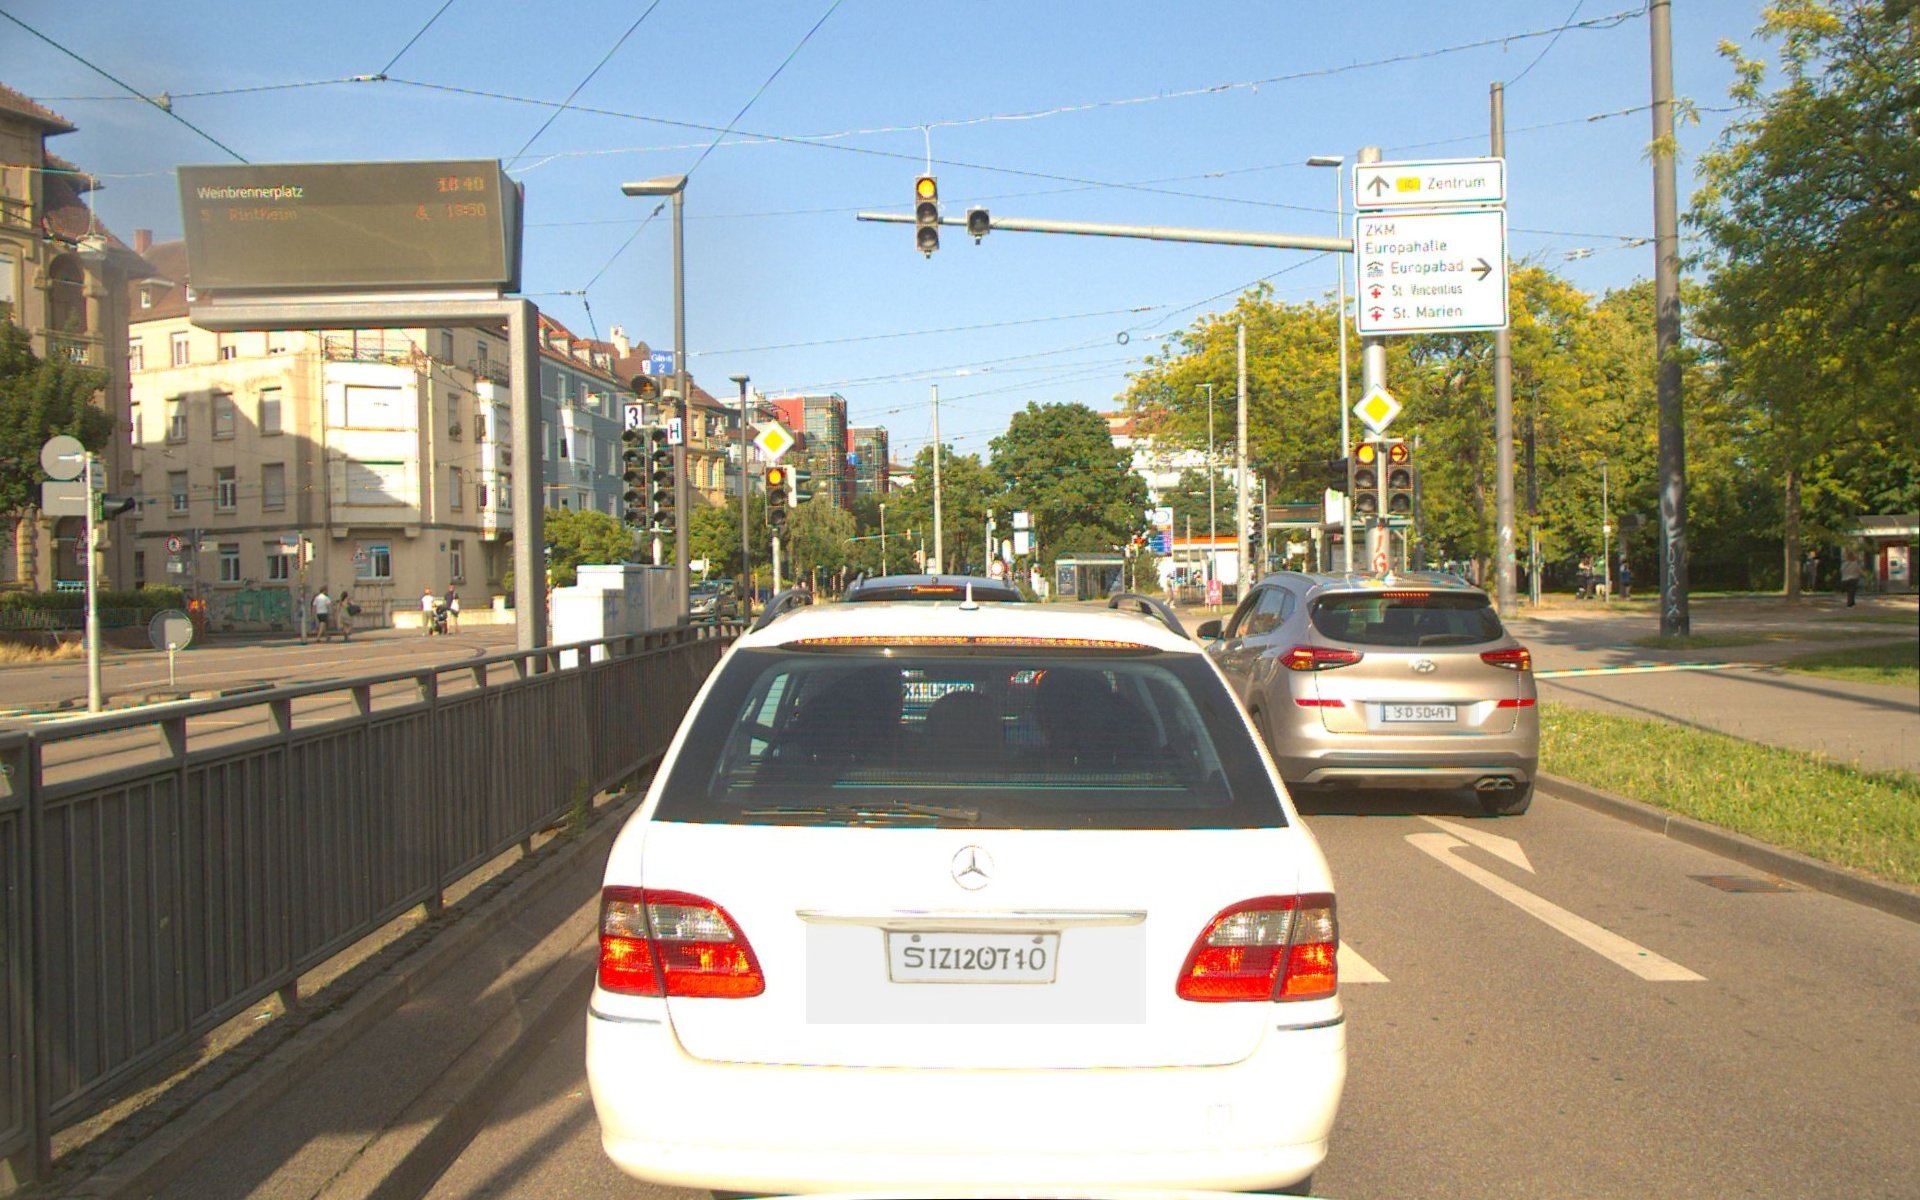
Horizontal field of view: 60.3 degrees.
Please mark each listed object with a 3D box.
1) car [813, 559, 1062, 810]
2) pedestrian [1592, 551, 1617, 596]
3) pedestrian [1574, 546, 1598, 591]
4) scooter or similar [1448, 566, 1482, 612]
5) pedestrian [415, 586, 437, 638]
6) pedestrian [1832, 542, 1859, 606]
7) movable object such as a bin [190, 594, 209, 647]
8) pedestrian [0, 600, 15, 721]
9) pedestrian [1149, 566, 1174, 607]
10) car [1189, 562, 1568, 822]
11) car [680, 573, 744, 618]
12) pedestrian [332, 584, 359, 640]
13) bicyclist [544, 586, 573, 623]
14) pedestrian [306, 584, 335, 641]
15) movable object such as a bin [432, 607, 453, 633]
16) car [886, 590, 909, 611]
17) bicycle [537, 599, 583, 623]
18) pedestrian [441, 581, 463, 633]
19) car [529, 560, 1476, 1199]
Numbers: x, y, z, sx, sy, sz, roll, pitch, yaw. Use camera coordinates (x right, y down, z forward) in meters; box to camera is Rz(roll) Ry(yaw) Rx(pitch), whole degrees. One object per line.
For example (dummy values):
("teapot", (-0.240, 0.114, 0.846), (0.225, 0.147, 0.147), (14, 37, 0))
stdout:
("car", (-0.174, 0.537, 12.649), (1.608, 1.628, 3.814), (0, 0, -1))
("pedestrian", (24.516, -1.017, 62.927), (0.628, 1.694, 0.690), (-1, 0, -1))
("pedestrian", (24.245, -1.216, 64.097), (0.628, 1.694, 0.690), (-1, 0, -1))
("scooter or similar", (13.931, -0.301, 45.655), (0.345, 1.253, 1.131), (-1, 0, -15))
("pedestrian", (-20.038, 0.434, 62.082), (0.573, 1.913, 0.626), (-1, 0, -3))
("pedestrian", (26.660, -0.775, 49.782), (0.595, 1.900, 0.459), (0, -1, 43))
("movable object such as a bin", (-25.557, 0.664, 55.570), (0.261, 1.739, 2.357), (-2, 1, -31))
("pedestrian", (-13.077, 0.813, 22.025), (0.578, 1.617, 0.715), (-1, 0, -5))
("pedestrian", (10.167, -0.665, 83.288), (0.976, 2.049, 0.827), (-1, 0, 27))
("car", (2.888, 0.563, 12.278), (1.798, 1.628, 3.814), (0, 0, -1))
("car", (-11.865, -0.226, 79.564), (2.101, 2.049, 5.388), (-1, 0, 2))
("pedestrian", (-20.987, 0.414, 56.509), (0.661, 1.880, 0.649), (-1, 0, -3))
("bicyclist", (-17.594, 0.207, 72.457), (0.647, 1.597, 1.041), (-1, 0, 31))
("pedestrian", (-21.882, 0.414, 56.574), (0.644, 1.913, 0.627), (-1, 0, 14))
("movable object such as a bin", (-19.743, 0.768, 63.130), (0.571, 0.963, 0.663), (-1, 0, -2))
("car", (-5.149, 0.049, 136.629), (1.642, 1.552, 4.125), (-1, 2, 0))
("bicycle", (-17.551, 0.479, 72.528), (0.727, 1.024, 1.992), (-1, 0, 33))
("pedestrian", (-19.207, 0.258, 62.553), (0.573, 1.913, 0.626), (-1, 4, -3))
("car", (0.059, 0.676, 5.053), (1.798, 1.527, 3.814), (0, 0, -1))
